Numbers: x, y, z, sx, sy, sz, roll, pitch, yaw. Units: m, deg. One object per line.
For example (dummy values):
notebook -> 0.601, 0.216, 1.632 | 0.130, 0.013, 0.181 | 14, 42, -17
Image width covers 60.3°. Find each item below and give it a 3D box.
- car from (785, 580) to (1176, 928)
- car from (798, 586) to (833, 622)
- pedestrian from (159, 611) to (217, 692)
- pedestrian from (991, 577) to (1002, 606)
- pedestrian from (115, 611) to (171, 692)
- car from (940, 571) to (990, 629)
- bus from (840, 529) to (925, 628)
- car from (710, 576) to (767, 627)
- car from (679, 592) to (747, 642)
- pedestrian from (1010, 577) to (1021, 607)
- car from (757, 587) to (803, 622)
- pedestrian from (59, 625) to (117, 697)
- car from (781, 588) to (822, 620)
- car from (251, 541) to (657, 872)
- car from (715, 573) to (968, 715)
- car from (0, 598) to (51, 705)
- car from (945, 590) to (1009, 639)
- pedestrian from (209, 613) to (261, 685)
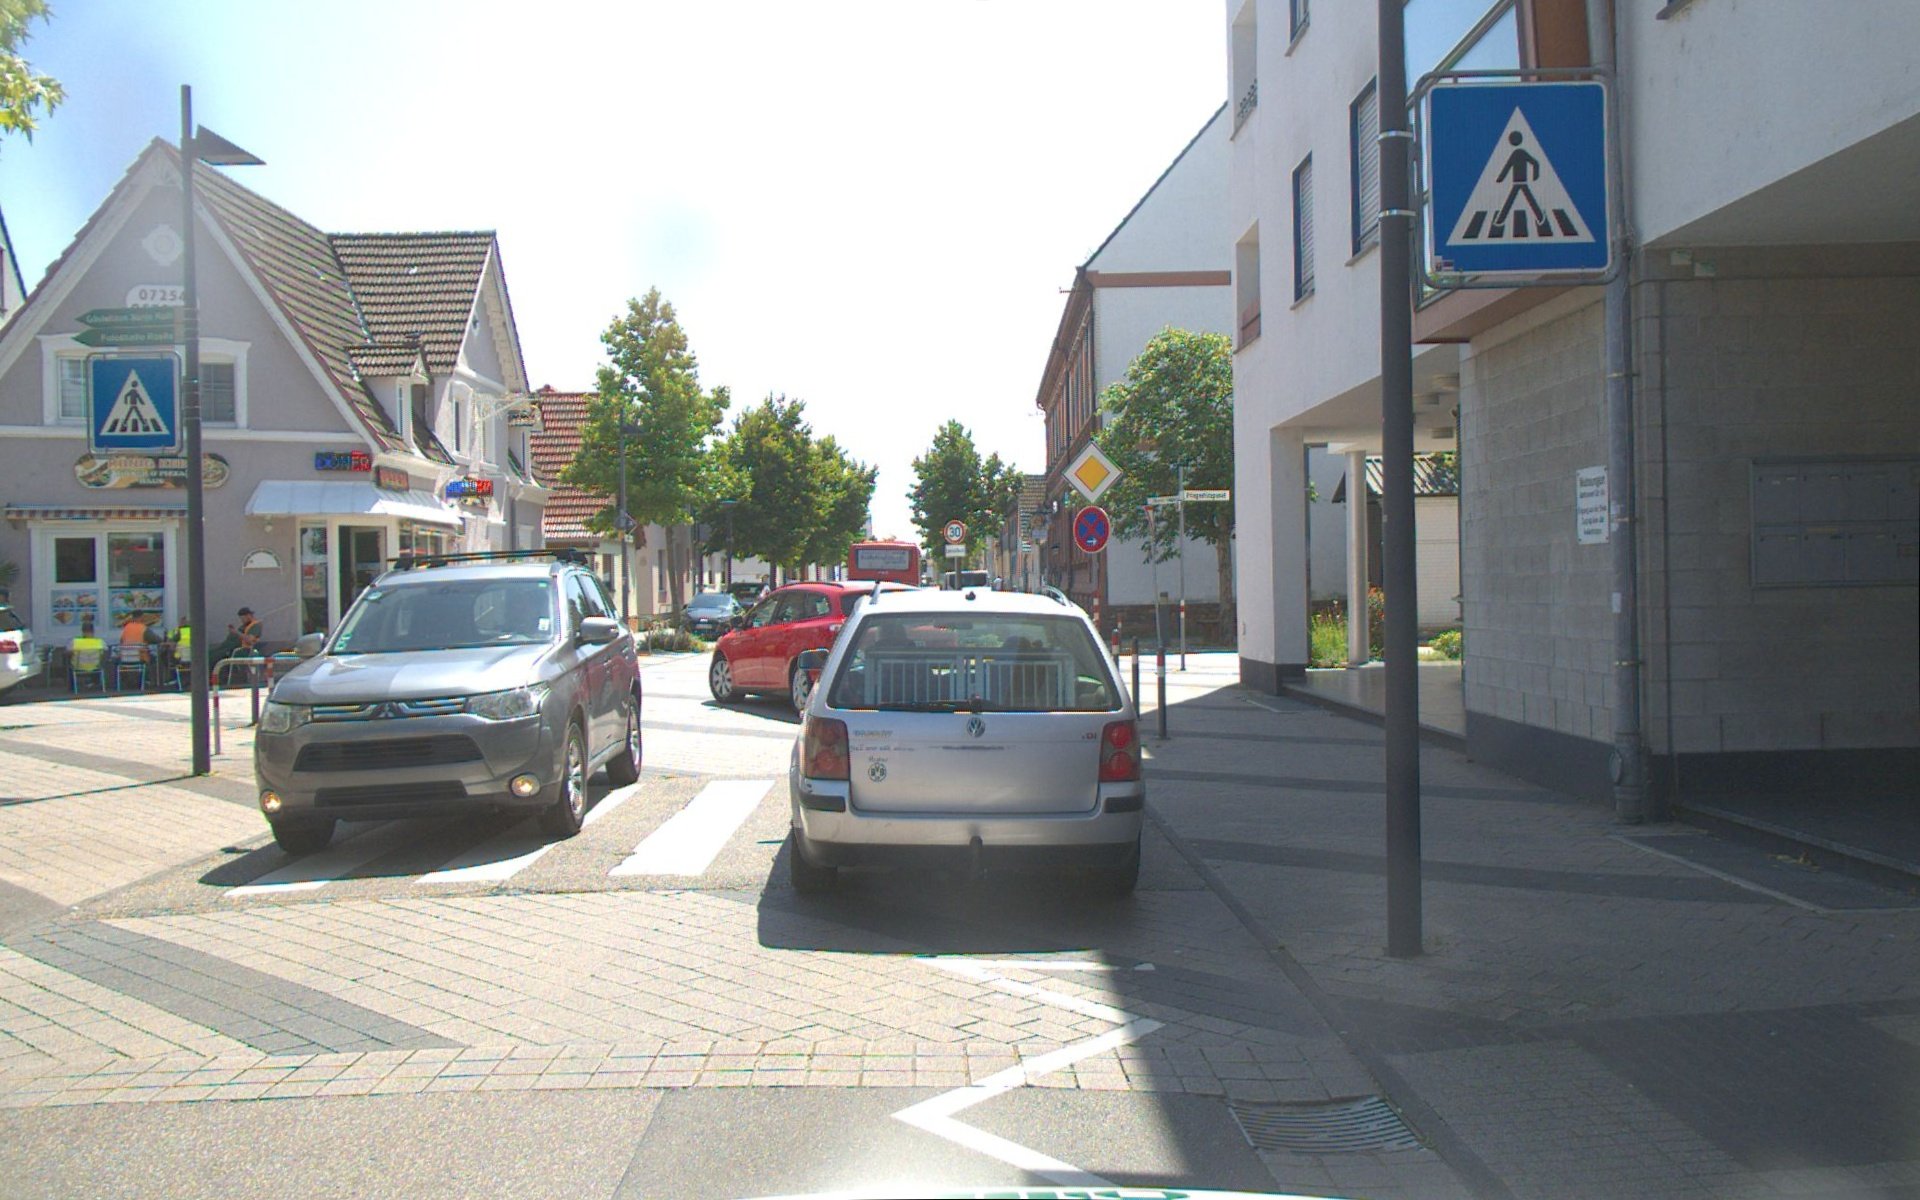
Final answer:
car -> 0.055, 0.644, 8.867 | 1.643, 1.455, 3.678 | 1, 0, -1
car -> -8.536, 0.200, 97.888 | 1.775, 2.030, 3.999 | -1, 0, -1
pedestrian -> -12.806, 0.848, 27.439 | 0.631, 1.311, 0.776 | 1, 0, -44
pedestrian -> 2.144, -0.481, 97.273 | 0.594, 1.696, 0.789 | -1, 0, -3
pedestrian -> -13.719, 0.854, 27.772 | 0.631, 1.311, 0.776 | 1, 0, -44
car -> 0.172, -0.016, 63.201 | 1.752, 2.118, 3.625 | -1, 0, -2
bus -> -2.775, -0.760, 62.952 | 2.684, 3.356, 12.703 | -1, 0, 0
car -> -8.543, 0.047, 63.990 | 1.729, 1.870, 3.788 | -1, 0, -1
car -> -7.740, 0.508, 52.062 | 1.572, 1.463, 4.064 | -1, 0, -1
pedestrian -> 3.241, -0.462, 96.671 | 0.594, 1.696, 0.789 | -1, 0, -3
car -> -8.545, 0.212, 78.710 | 1.775, 1.586, 3.999 | -1, 0, -1
pedestrian -> -14.218, 0.979, 26.973 | 0.631, 1.135, 0.776 | 1, 0, -44
car -> -8.178, 0.199, 85.454 | 1.775, 1.586, 3.999 | -1, 0, -1
car -> -3.119, 0.554, 11.077 | 1.642, 1.746, 4.229 | -1, 0, -4
car -> -1.475, 0.459, 19.254 | 1.657, 1.455, 3.647 | -1, 0, -27
car -> -16.250, 0.831, 25.275 | 3.855, 1.572, 1.511 | -2, 2, -18
car -> 0.466, 0.389, 47.911 | 1.684, 1.332, 3.625 | -1, 0, -2
pedestrian -> -12.567, 0.846, 28.676 | 0.610, 1.199, 0.696 | -1, 0, -5
